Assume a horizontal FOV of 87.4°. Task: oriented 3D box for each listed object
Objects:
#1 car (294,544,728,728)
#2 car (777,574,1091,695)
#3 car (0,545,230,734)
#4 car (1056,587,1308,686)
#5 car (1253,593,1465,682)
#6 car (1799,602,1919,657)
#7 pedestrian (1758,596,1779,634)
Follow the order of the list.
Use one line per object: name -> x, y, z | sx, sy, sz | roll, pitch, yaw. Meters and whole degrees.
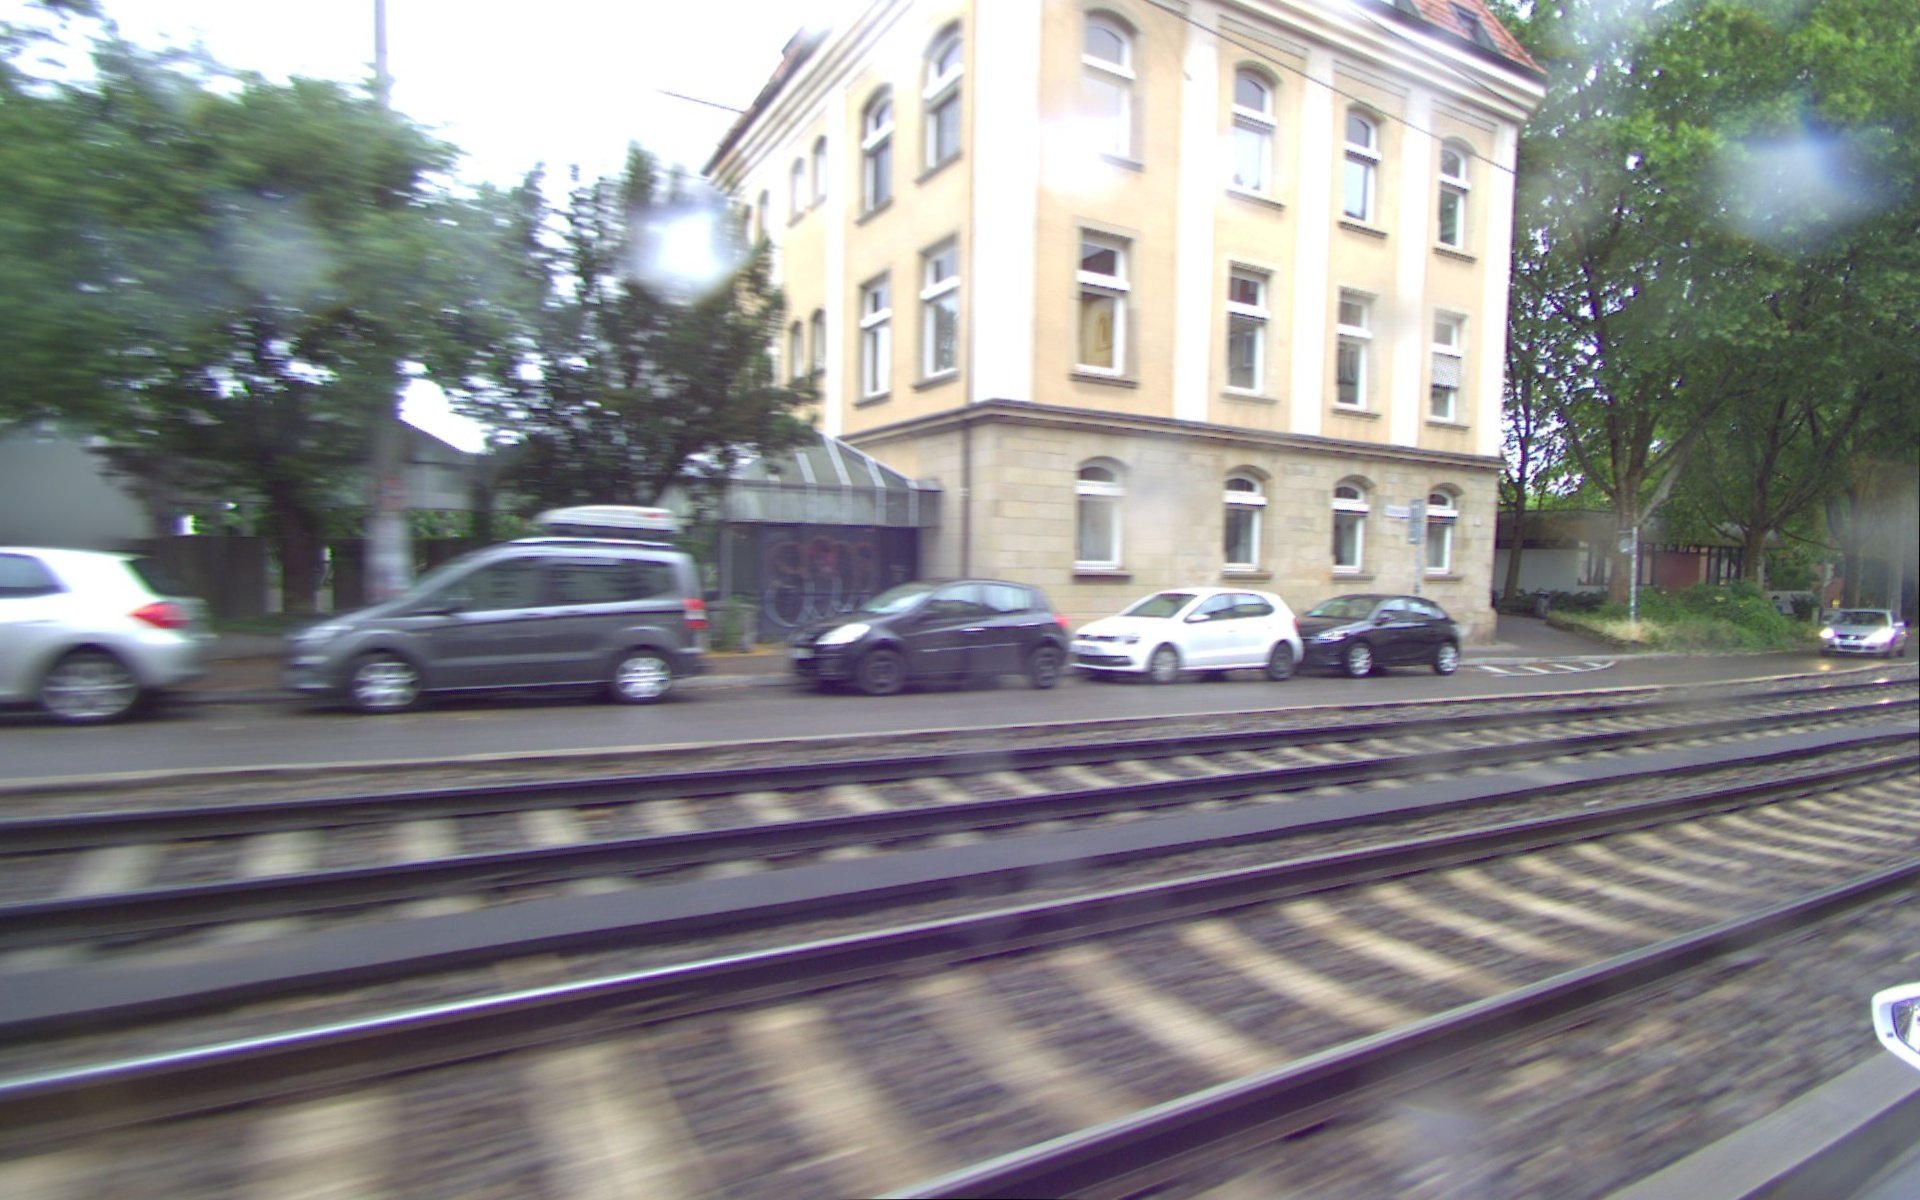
car -> -4.706, 0.362, 10.825 | 4.025, 1.665, 1.568 | 1, -1, -32
car -> -0.307, 0.447, 13.631 | 3.961, 1.432, 1.667 | 1, -1, -30
car -> -8.737, 0.315, 8.399 | 4.107, 1.525, 1.531 | 1, -1, -32
car -> 3.557, 0.558, 15.908 | 3.939, 1.409, 1.493 | 1, -1, -30
car -> 7.264, 0.621, 18.210 | 3.808, 1.448, 1.606 | 0, 1, -31
car -> 27.568, 0.870, 30.766 | 4.589, 1.525, 1.804 | 1, 1, -36
pedestrian -> 36.301, 0.663, 45.100 | 0.684, 1.684, 0.638 | 2, 1, 41
